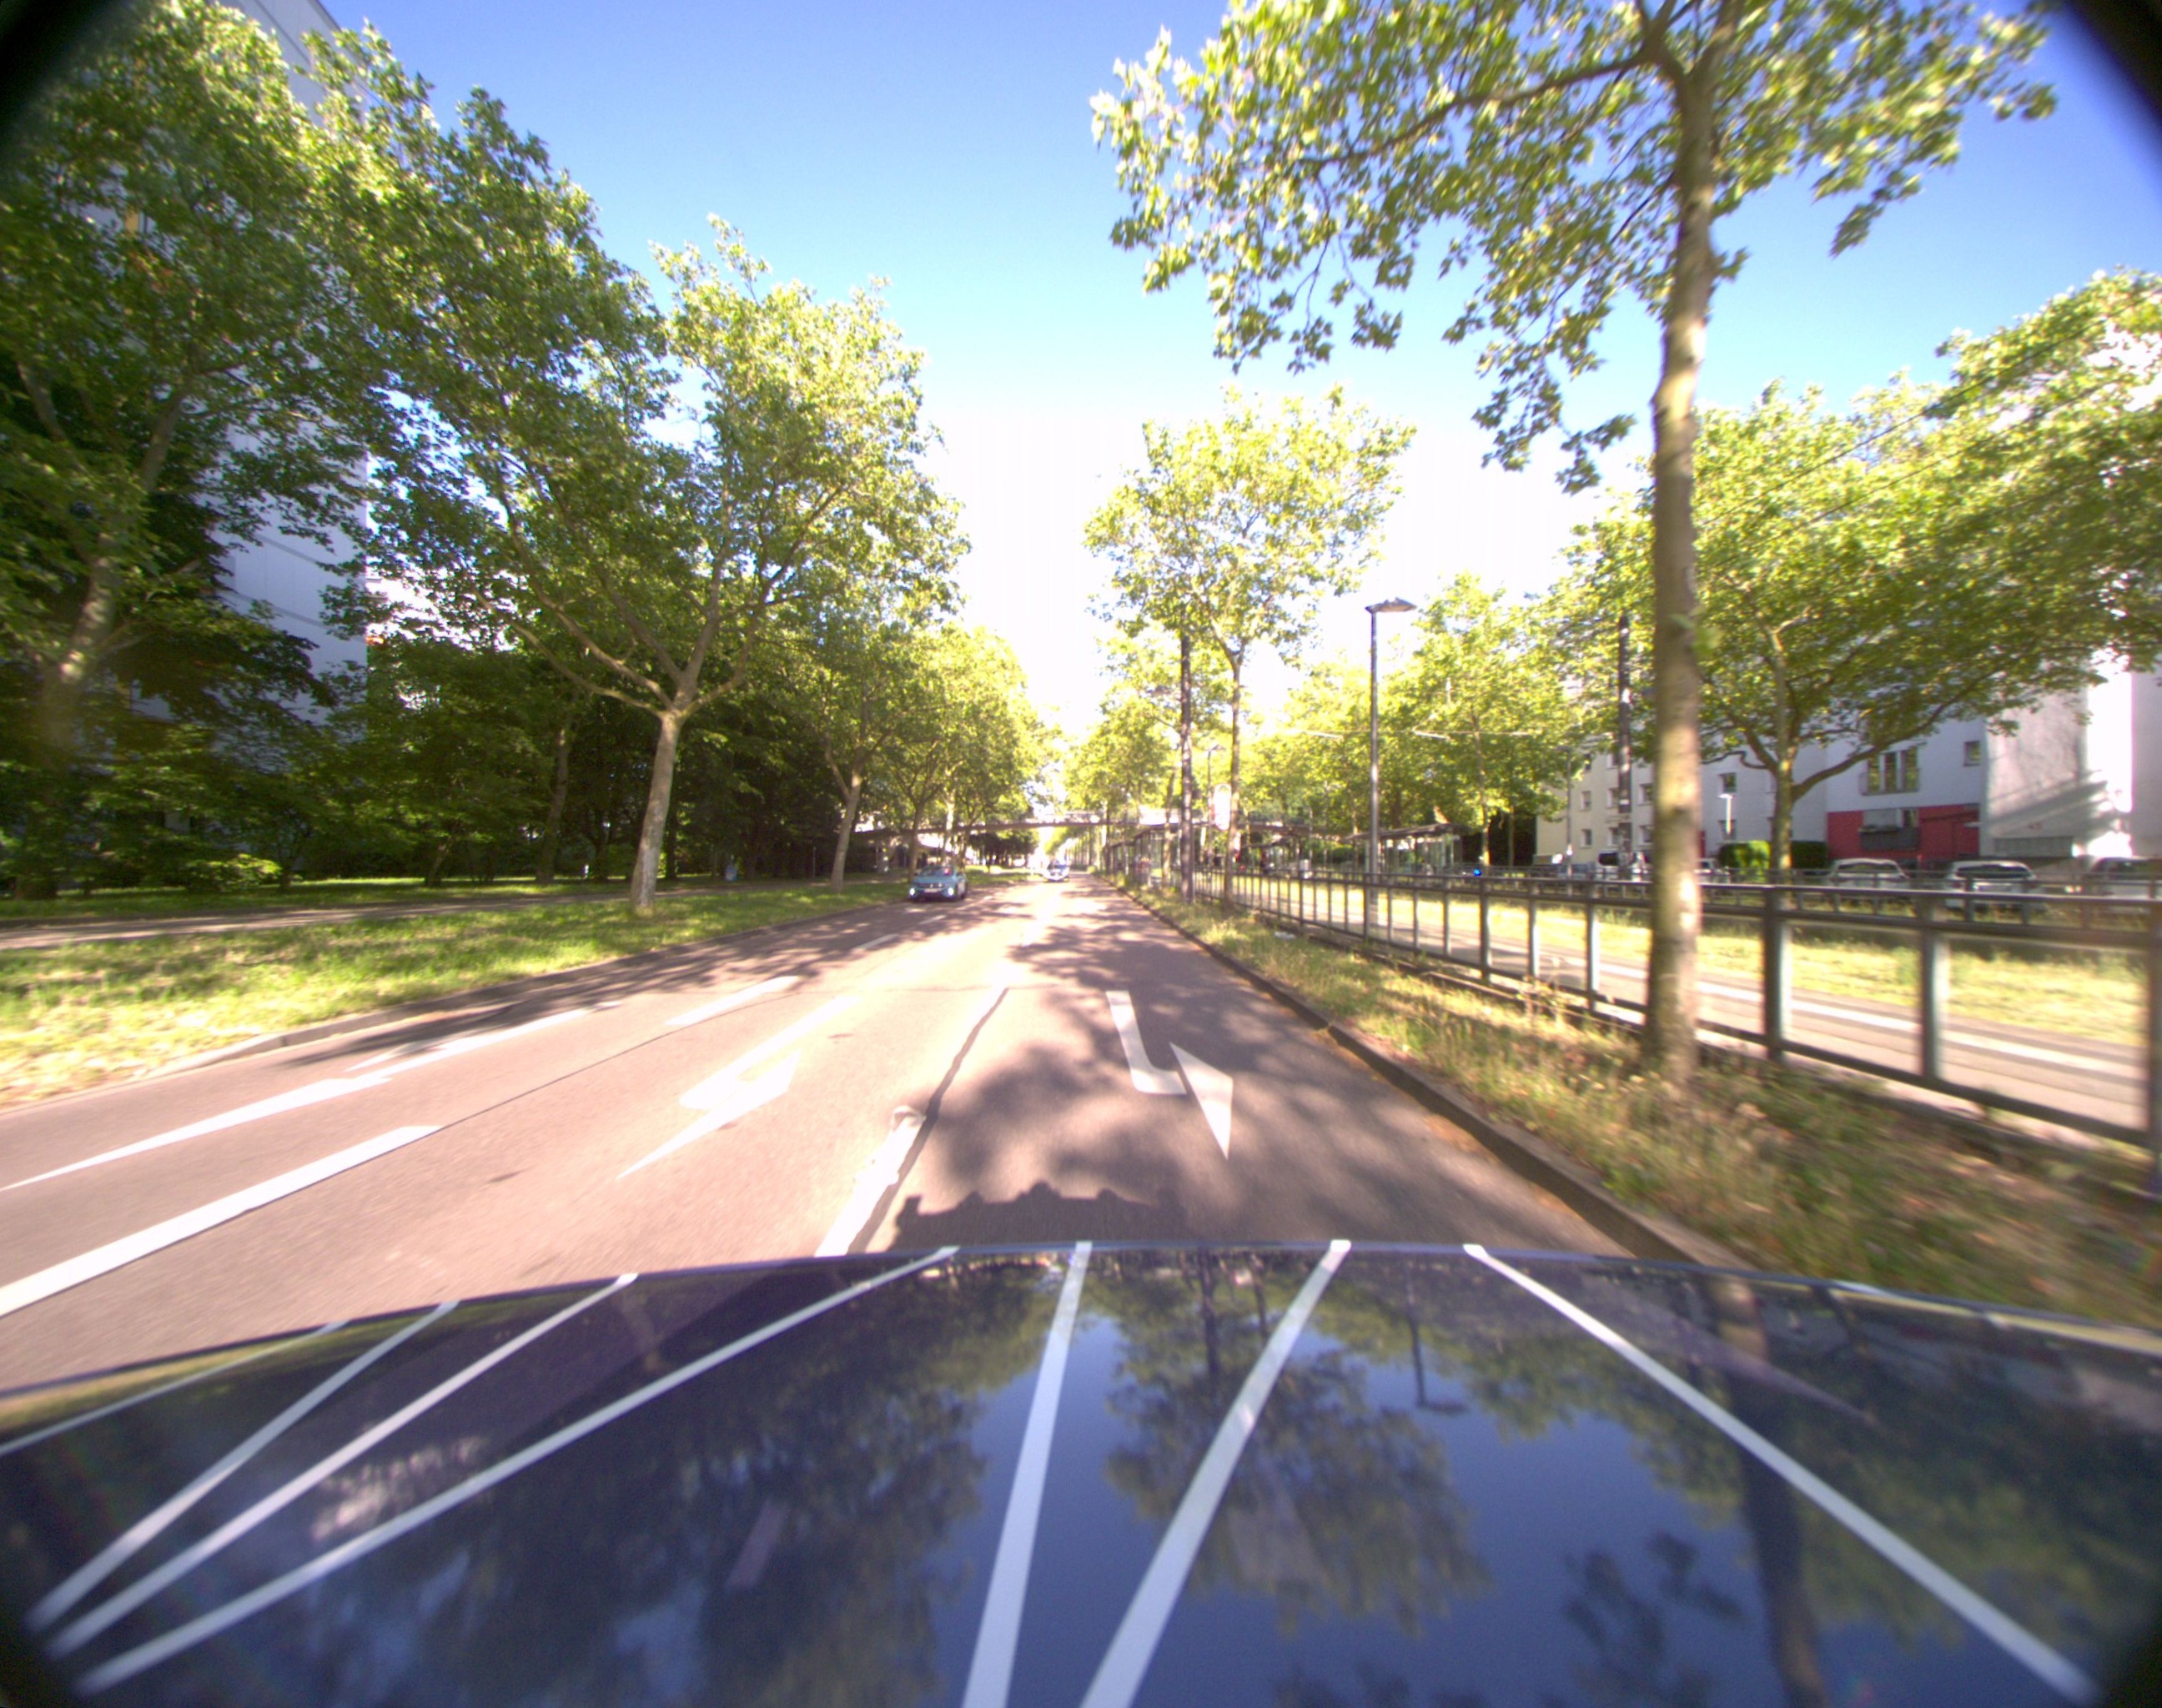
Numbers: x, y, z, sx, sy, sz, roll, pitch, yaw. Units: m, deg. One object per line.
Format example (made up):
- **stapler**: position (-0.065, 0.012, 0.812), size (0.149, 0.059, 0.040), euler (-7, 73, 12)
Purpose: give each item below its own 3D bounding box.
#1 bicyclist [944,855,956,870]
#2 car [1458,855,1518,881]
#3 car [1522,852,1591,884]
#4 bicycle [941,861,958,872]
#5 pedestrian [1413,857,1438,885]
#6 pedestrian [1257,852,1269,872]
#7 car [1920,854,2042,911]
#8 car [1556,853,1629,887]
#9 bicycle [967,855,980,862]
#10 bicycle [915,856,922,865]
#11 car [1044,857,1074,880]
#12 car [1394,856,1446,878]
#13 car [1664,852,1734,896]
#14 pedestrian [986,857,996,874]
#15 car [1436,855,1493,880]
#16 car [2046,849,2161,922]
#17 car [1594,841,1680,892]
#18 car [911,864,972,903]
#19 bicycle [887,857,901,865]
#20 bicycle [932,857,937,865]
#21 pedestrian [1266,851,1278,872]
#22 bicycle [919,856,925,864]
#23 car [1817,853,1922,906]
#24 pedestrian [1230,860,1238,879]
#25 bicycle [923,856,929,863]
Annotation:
- **bicyclist**: position (-14.635, 0.933, 84.588), size (0.954, 1.622, 0.817), euler (2, 0, 35)
- **car**: position (24.796, 0.857, 46.252), size (4.208, 1.420, 1.696), euler (-2, -1, -39)
- **car**: position (25.211, 0.720, 40.224), size (4.509, 1.489, 1.895), euler (-1, -1, -42)
- **bicycle**: position (-14.637, 1.342, 84.585), size (1.831, 1.140, 0.817), euler (2, -1, 35)
- **pedestrian**: position (14.653, 0.714, 32.339), size (0.696, 1.121, 0.662), euler (3, 1, 0)
- **pedestrian**: position (14.161, 0.602, 59.141), size (0.644, 1.505, 0.683), euler (1, 1, -13)
- **car**: position (24.900, 0.741, 21.163), size (1.571, 1.424, 4.068), euler (-2, -1, 41)
- **car**: position (24.713, 0.753, 36.655), size (4.509, 1.489, 1.895), euler (-1, -1, -42)
- **bicycle**: position (-17.371, 0.712, 122.635), size (2.074, 1.151, 0.561), euler (1, 0, -12)
- **bicycle**: position (-24.147, 0.931, 112.992), size (0.577, 1.246, 1.805), euler (-2, 1, -3)
- **car**: position (-1.625, 1.072, 57.559), size (1.897, 1.623, 4.502), euler (-1, 0, 2)
- **car**: position (24.864, 0.922, 55.670), size (4.208, 1.420, 1.696), euler (-2, -1, -39)
- **car**: position (24.738, 0.768, 30.381), size (4.068, 1.601, 1.685), euler (-1, -1, -44)
- **pedestrian**: position (-9.330, 1.169, 78.821), size (0.658, 1.766, 0.741), euler (-1, -1, 36)
- **car**: position (24.784, 0.843, 49.084), size (4.208, 1.420, 1.696), euler (-2, -1, -39)
- **car**: position (24.788, 0.684, 18.024), size (1.571, 1.559, 4.068), euler (-2, -1, 41)
- **car**: position (24.371, 0.520, 33.231), size (4.508, 2.051, 1.895), euler (-2, -1, -39)
- **car**: position (-5.705, 1.168, 31.522), size (1.780, 1.474, 4.100), euler (-2, -1, -1)
- **bicycle**: position (-27.346, 1.021, 111.141), size (1.806, 1.109, 0.710), euler (0, 2, -9)
- **bicycle**: position (-23.300, 1.040, 120.785), size (0.577, 1.246, 1.805), euler (-2, 1, -3)
- **pedestrian**: position (14.816, 0.554, 58.849), size (0.731, 1.625, 0.715), euler (0, 1, -3)
- **bicycle**: position (-24.474, 0.919, 116.978), size (0.577, 1.246, 1.805), euler (-2, 1, -3)
- **car**: position (24.823, 0.764, 24.086), size (1.895, 1.495, 4.509), euler (-2, -1, 41)
- **pedestrian**: position (13.835, 1.400, 68.596), size (0.504, 1.760, 0.483), euler (-2, 1, -41)
- **bicycle**: position (-25.191, 0.888, 123.546), size (0.577, 1.246, 1.805), euler (-2, 1, -3)
